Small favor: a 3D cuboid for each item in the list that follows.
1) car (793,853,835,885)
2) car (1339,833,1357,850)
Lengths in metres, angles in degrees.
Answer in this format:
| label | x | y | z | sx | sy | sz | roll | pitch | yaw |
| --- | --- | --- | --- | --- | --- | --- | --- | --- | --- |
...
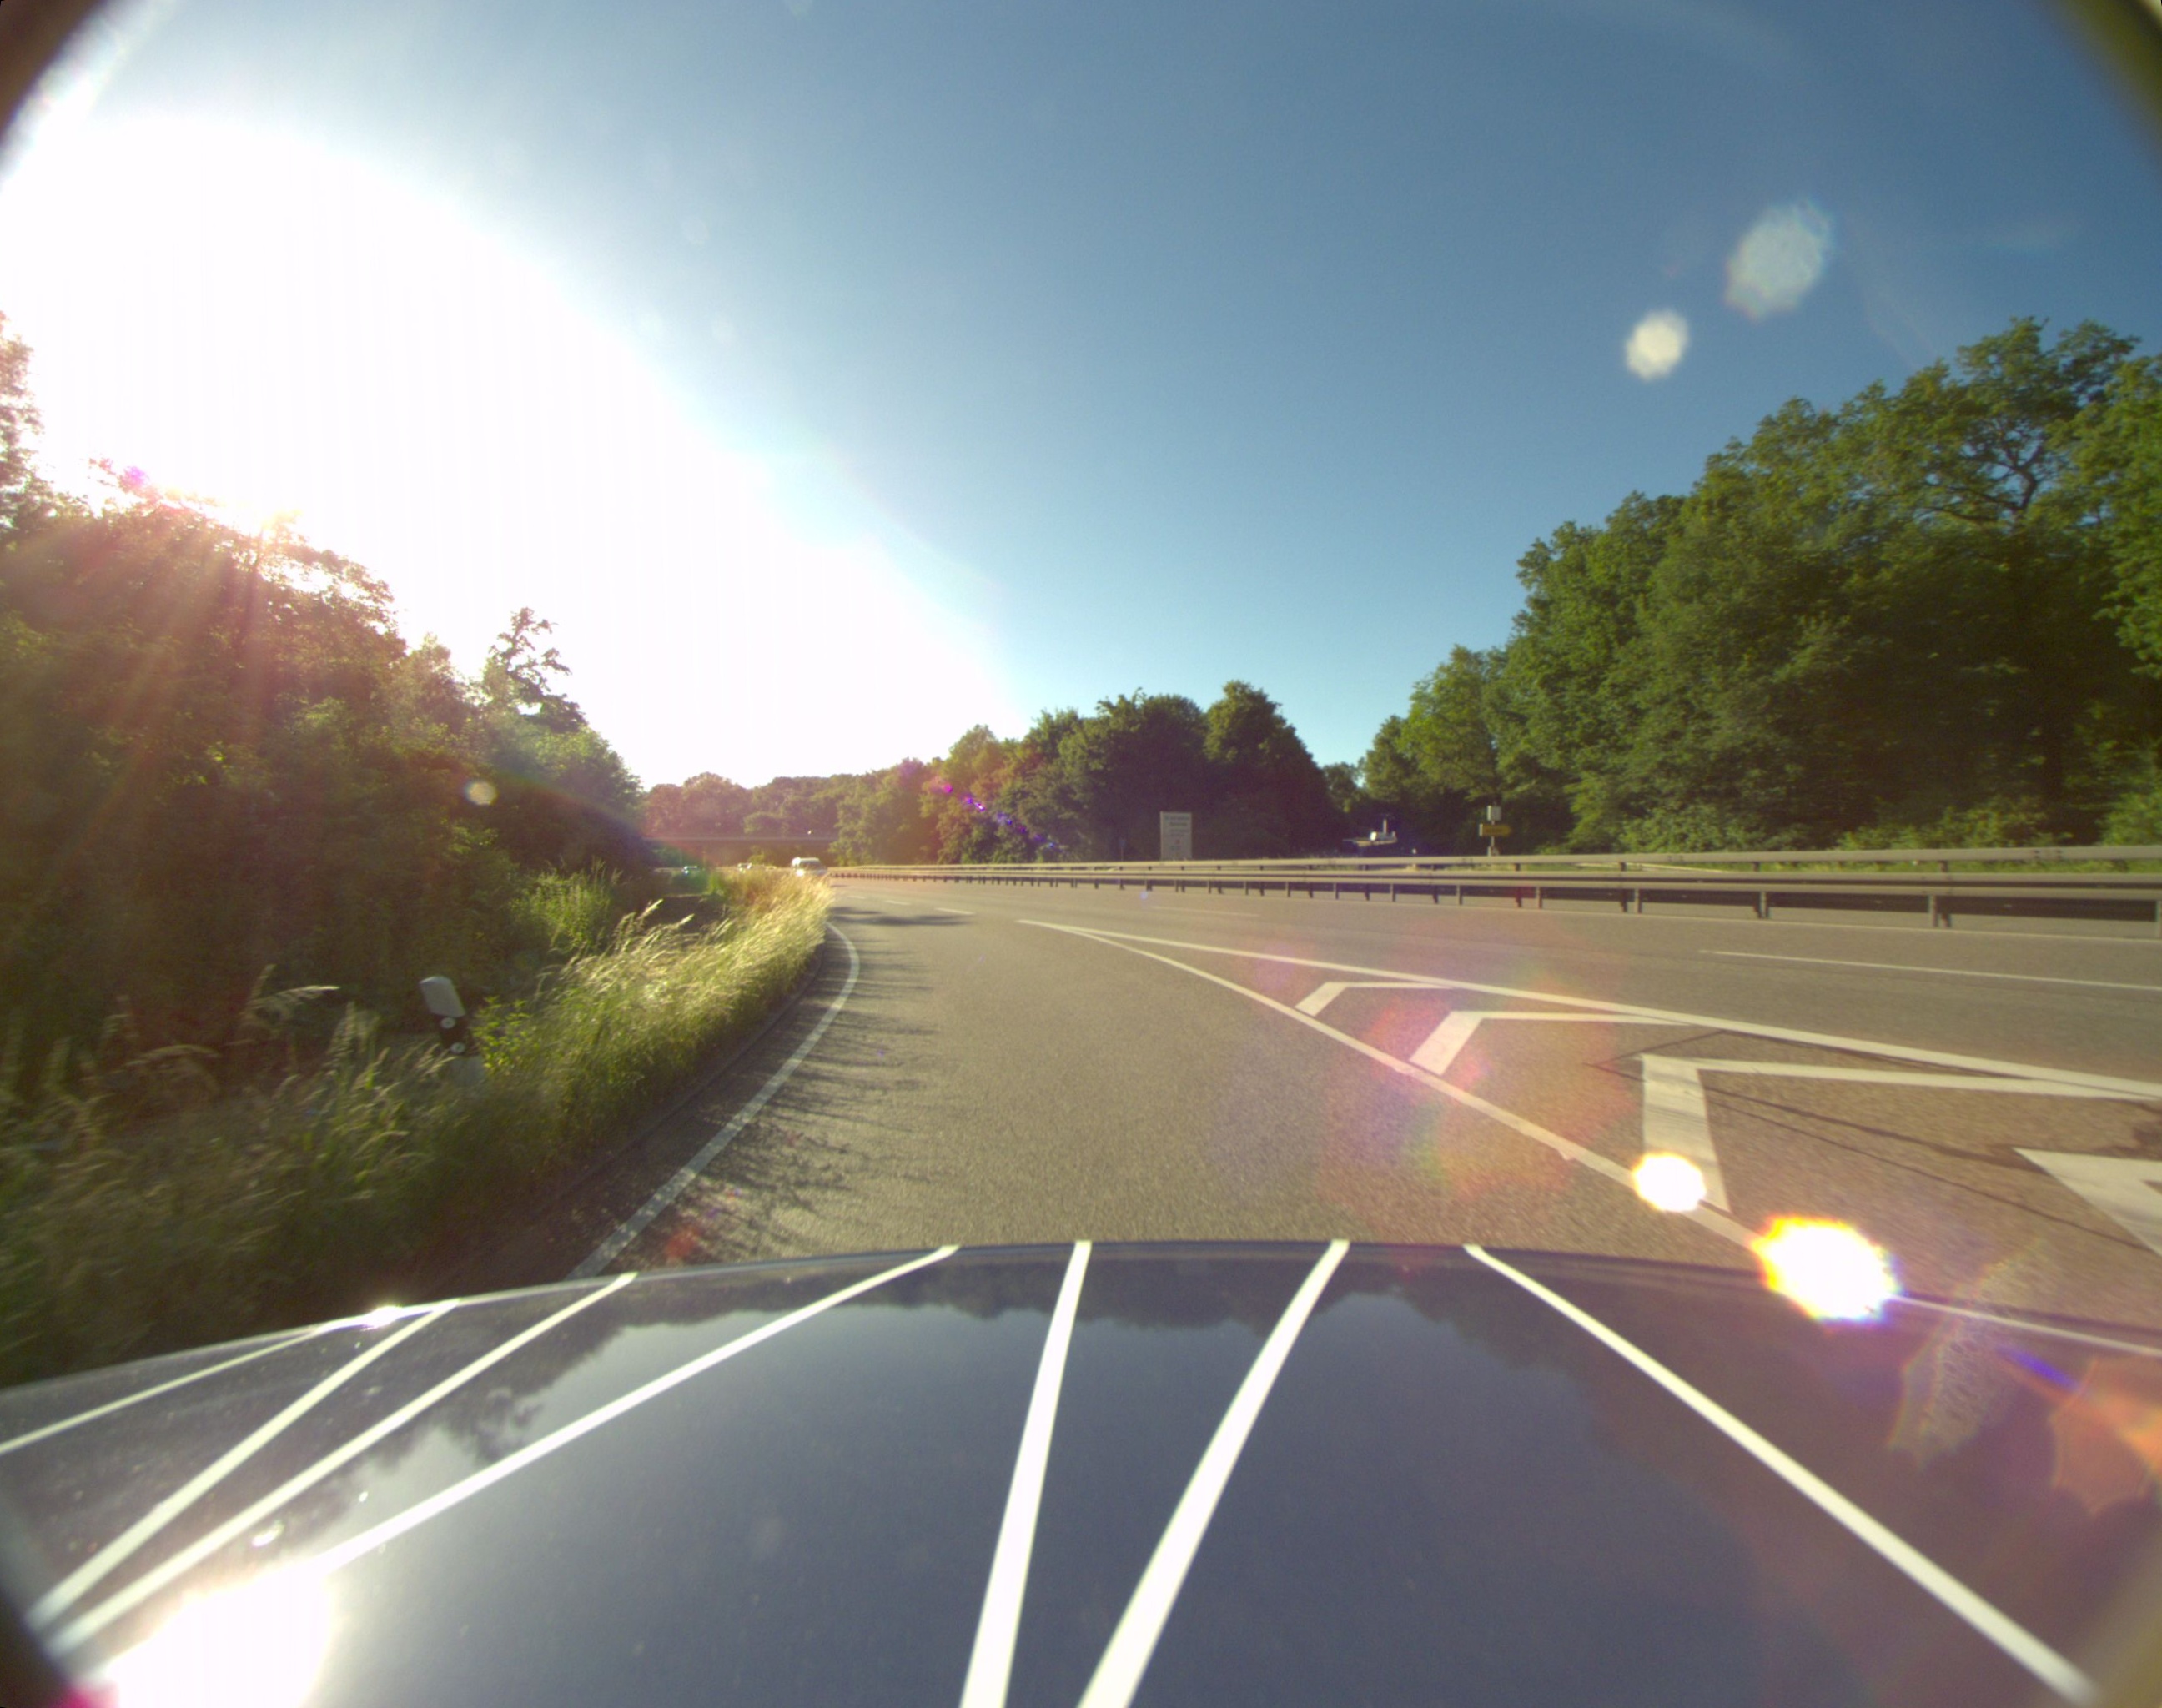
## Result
| label | x | y | z | sx | sy | sz | roll | pitch | yaw |
| --- | --- | --- | --- | --- | --- | --- | --- | --- | --- |
| car | -16.909 | 0.881 | 47.972 | 1.803 | 1.797 | 4.821 | -3 | 2 | -27 |
| car | 31.702 | -1.491 | 90.336 | 1.996 | 1.849 | 4.670 | -1 | 2 | 18 |
